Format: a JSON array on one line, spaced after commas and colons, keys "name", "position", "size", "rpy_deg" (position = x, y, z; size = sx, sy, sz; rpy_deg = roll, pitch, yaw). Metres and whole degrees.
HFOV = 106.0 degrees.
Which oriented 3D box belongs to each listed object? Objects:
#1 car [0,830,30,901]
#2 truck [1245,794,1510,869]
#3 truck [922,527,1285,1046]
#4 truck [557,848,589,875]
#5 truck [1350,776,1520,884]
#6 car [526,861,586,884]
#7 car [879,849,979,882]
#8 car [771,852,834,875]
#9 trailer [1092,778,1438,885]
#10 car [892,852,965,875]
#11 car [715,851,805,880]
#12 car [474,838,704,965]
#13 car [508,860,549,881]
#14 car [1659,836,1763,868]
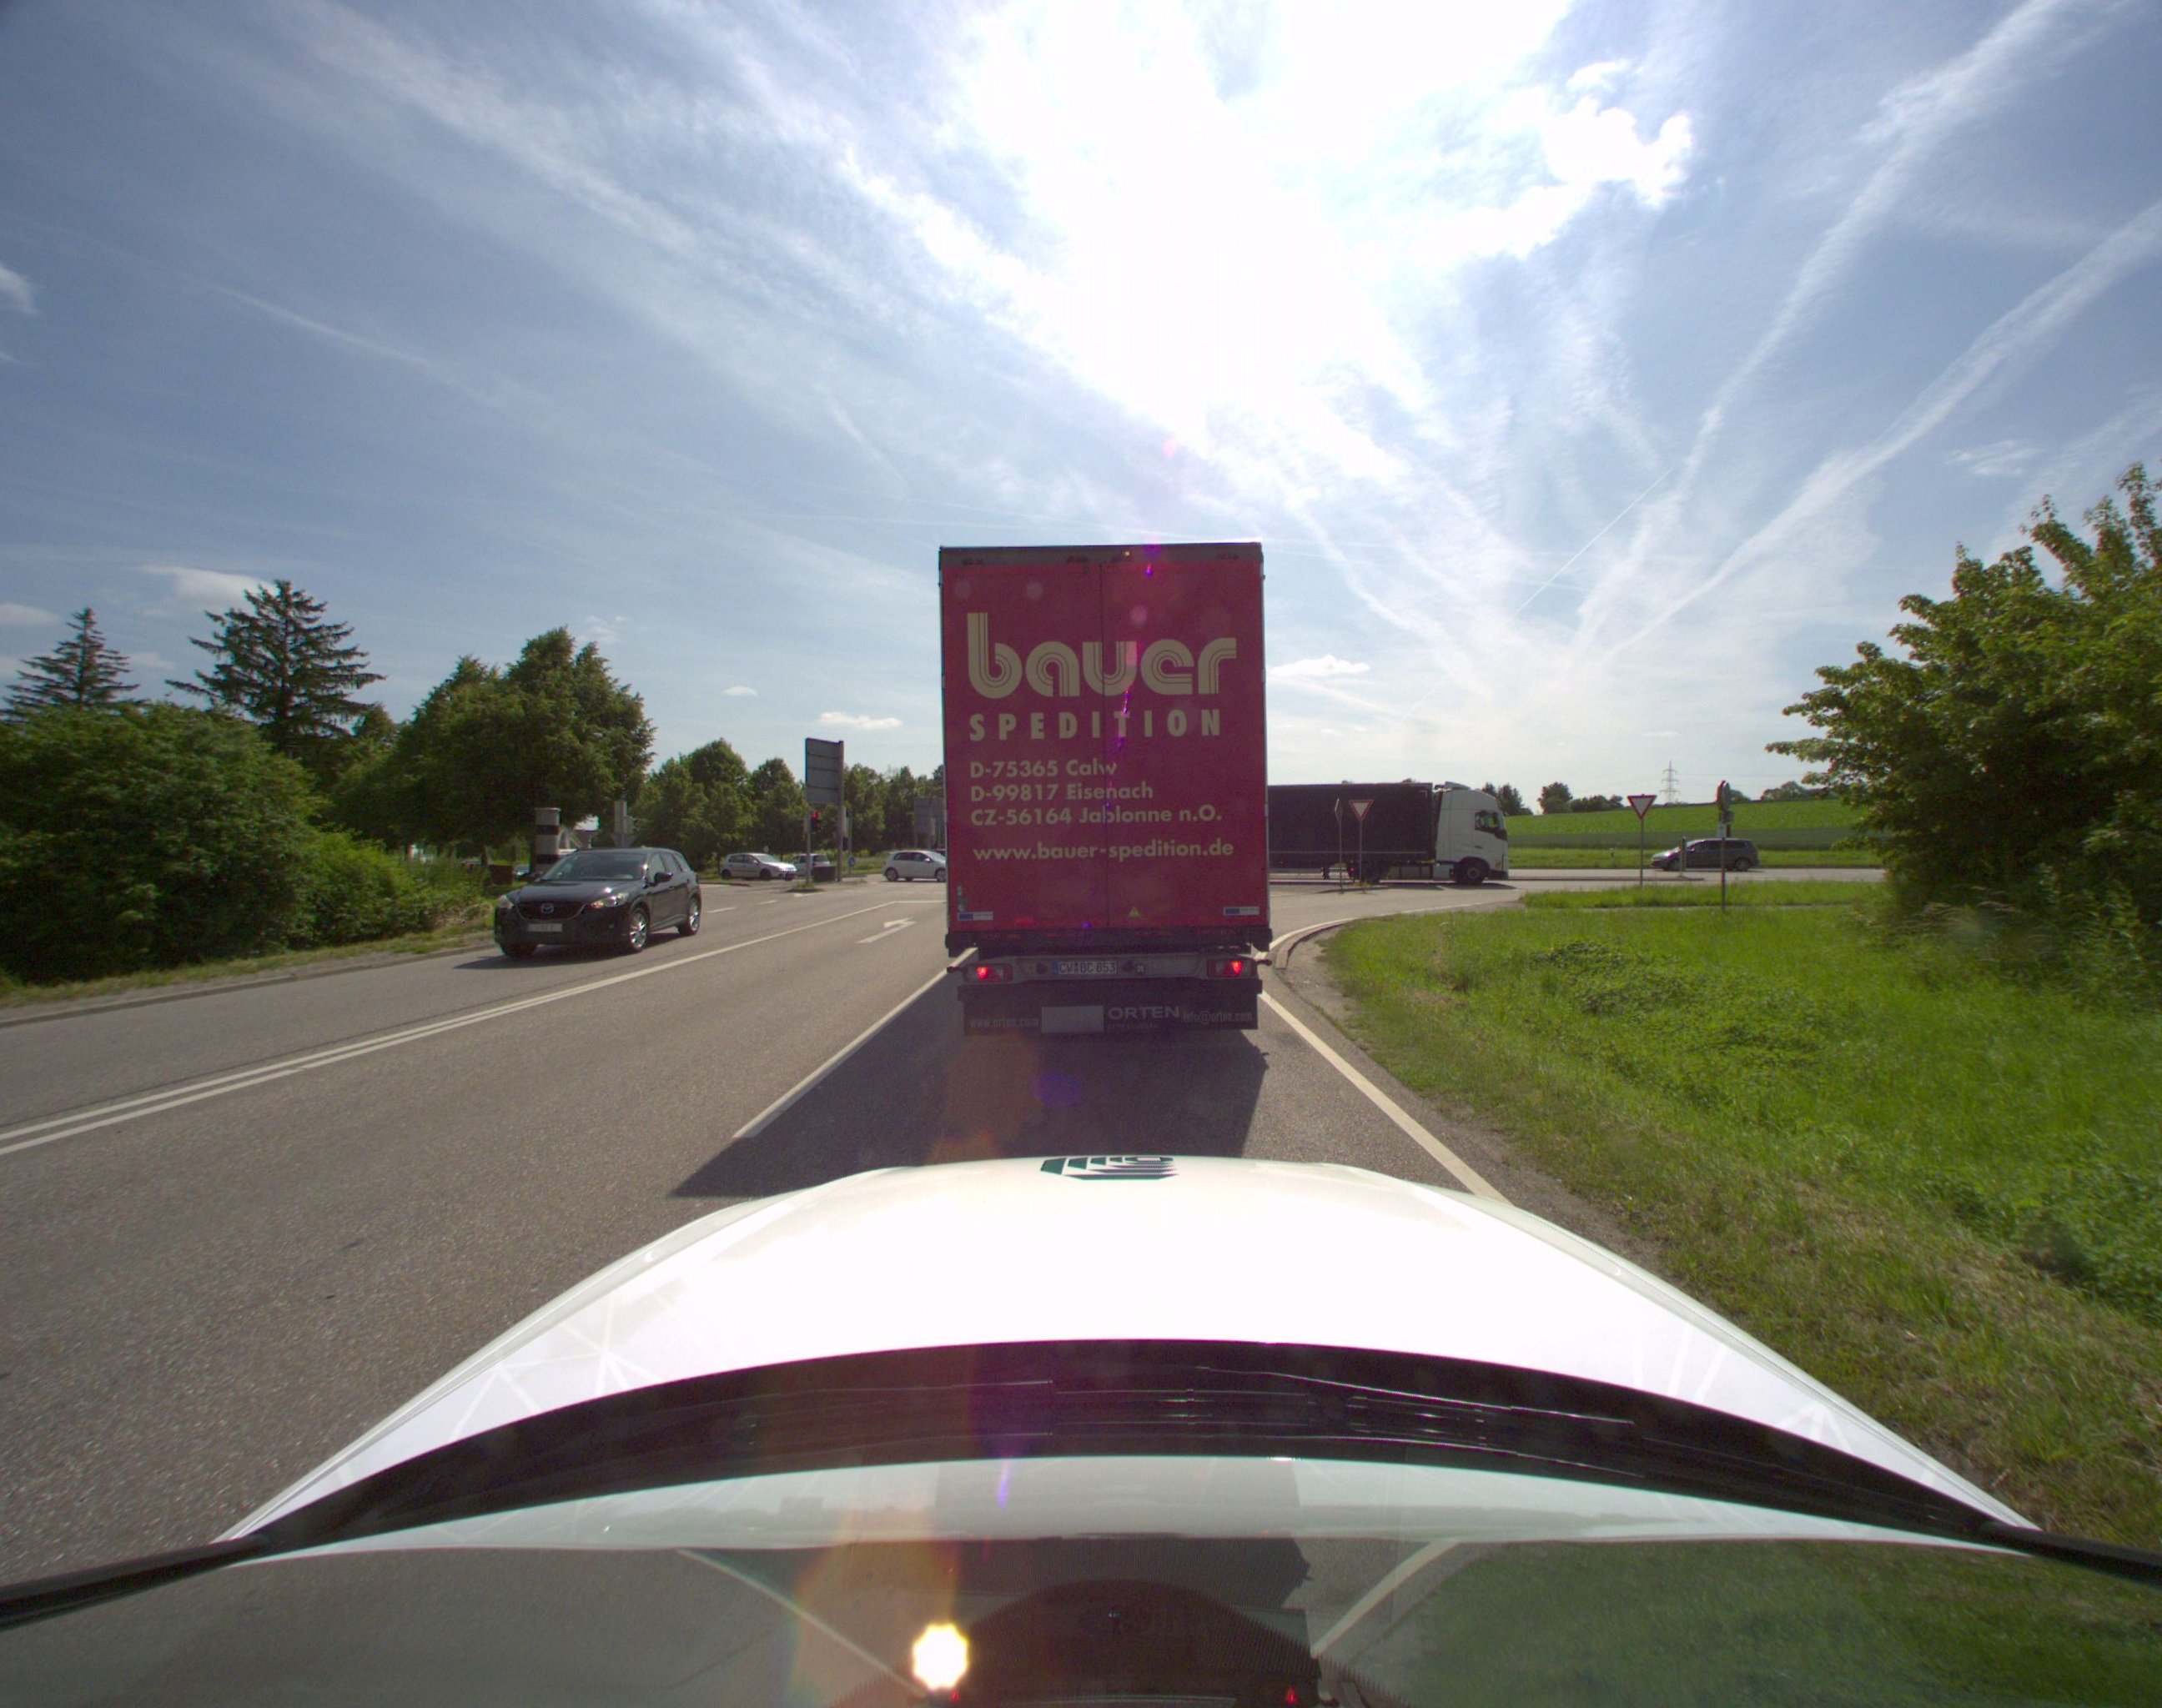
[{"name": "car", "position": [-35.580, 0.345, 24.399], "size": [4.601, 2.180, 1.985], "rpy_deg": [0, 0, -22]}, {"name": "truck", "position": [16.964, -1.224, 47.575], "size": [14.157, 3.979, 3.044], "rpy_deg": [0, 1, 22]}, {"name": "truck", "position": [0.398, -0.570, 14.536], "size": [2.724, 3.925, 16.631], "rpy_deg": [-1, 0, 2]}, {"name": "truck", "position": [-75.011, 1.164, 120.313], "size": [2.951, 3.798, 7.863], "rpy_deg": [0, -1, -24]}, {"name": "truck", "position": [13.948, -0.917, 32.552], "size": [5.789, 4.061, 2.807], "rpy_deg": [0, 1, 11]}, {"name": "car", "position": [-32.473, 1.126, 50.334], "size": [4.225, 1.305, 1.753], "rpy_deg": [0, 0, 37]}, {"name": "car", "position": [-7.137, 0.538, 38.307], "size": [4.212, 1.461, 1.818], "rpy_deg": [0, 1, 17]}, {"name": "car", "position": [-18.333, 0.575, 53.629], "size": [3.813, 1.356, 1.686], "rpy_deg": [1, 2, 26]}, {"name": "trailer", "position": [7.413, -0.850, 34.098], "size": [13.583, 4.061, 2.810], "rpy_deg": [0, 1, 15]}, {"name": "car", "position": [-9.256, 0.580, 49.389], "size": [4.226, 1.305, 1.752], "rpy_deg": [-1, 0, 29]}, {"name": "car", "position": [-16.343, 0.567, 41.531], "size": [4.002, 1.416, 1.803], "rpy_deg": [0, 1, 18]}, {"name": "car", "position": [-7.867, 0.640, 13.534], "size": [1.866, 1.750, 4.096], "rpy_deg": [-1, 1, -10]}, {"name": "car", "position": [-39.644, 1.175, 58.375], "size": [1.751, 1.428, 4.229], "rpy_deg": [-1, 0, -43]}, {"name": "car", "position": [32.168, -0.111, 41.707], "size": [3.952, 1.596, 1.673], "rpy_deg": [0, -1, 22]}]
